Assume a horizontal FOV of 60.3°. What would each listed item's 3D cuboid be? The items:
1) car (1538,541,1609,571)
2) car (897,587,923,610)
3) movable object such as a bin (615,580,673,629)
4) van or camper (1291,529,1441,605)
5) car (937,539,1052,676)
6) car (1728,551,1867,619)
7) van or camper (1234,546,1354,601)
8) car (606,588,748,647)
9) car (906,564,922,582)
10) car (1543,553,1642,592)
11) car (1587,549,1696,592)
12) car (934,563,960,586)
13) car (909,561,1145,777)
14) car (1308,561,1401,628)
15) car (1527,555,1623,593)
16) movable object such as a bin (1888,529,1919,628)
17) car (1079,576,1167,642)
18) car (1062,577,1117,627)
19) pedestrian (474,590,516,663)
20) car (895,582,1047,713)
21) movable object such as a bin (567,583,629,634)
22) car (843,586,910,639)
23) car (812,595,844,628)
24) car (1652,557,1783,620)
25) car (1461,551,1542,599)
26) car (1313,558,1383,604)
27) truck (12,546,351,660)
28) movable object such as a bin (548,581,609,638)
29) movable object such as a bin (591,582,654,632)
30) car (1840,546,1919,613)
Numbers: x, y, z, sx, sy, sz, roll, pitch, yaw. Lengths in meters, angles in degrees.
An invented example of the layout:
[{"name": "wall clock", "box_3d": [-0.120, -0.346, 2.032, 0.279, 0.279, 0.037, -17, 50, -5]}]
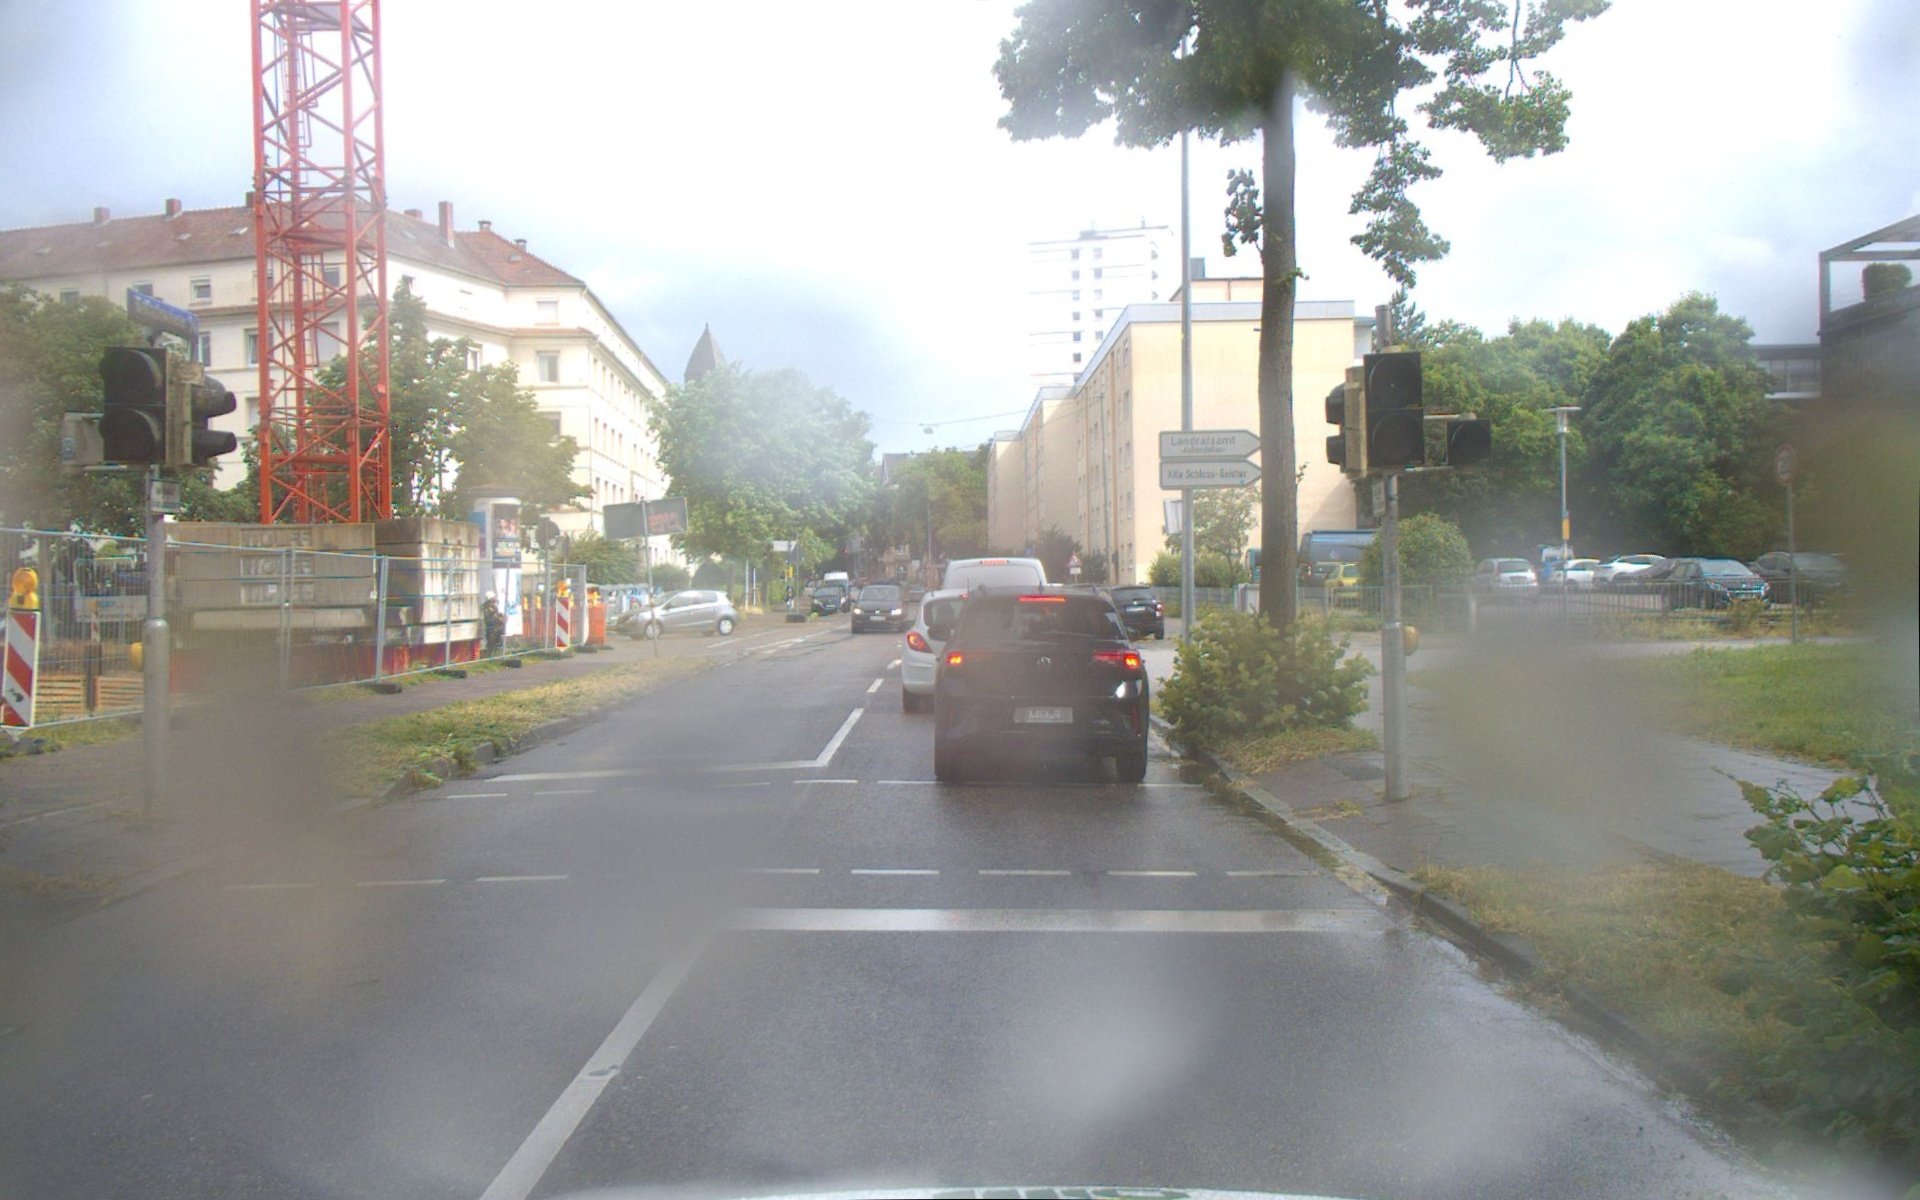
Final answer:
[{"name": "car", "box_3d": [32.002, -2.296, 86.337, 3.158, 1.422, 1.509, -2, 1, 3]}, {"name": "car", "box_3d": [-3.782, -0.126, 124.824, 1.705, 1.636, 3.676, -3, 1, 1]}, {"name": "movable object such as a bin", "box_3d": [-11.537, 0.160, 60.450, 1.505, 1.691, 1.459, -2, 1, 19]}, {"name": "van or camper", "box_3d": [14.713, -1.180, 60.190, 4.895, 2.599, 2.175, -1, 0, 1]}, {"name": "car", "box_3d": [0.594, 0.123, 27.993, 1.798, 2.139, 4.001, 1, 0, 1]}, {"name": "car", "box_3d": [22.570, -0.417, 44.752, 1.814, 1.708, 4.426, -2, 1, 5]}, {"name": "van or camper", "box_3d": [14.173, -1.136, 70.392, 4.660, 2.168, 2.323, -1, 1, 3]}, {"name": "car", "box_3d": [-8.848, 0.547, 51.835, 3.949, 1.665, 1.874, -2, -1, -32]}, {"name": "car", "box_3d": [-5.189, -3.041, 186.930, 1.632, 1.870, 3.998, -2, 1, -2]}, {"name": "car", "box_3d": [26.886, -1.152, 70.384, 3.590, 1.512, 1.640, -2, 1, 3]}, {"name": "car", "box_3d": [26.758, -1.155, 65.036, 3.590, 1.512, 1.640, -2, 1, 3]}, {"name": "car", "box_3d": [-0.953, -1.883, 123.959, 1.803, 1.636, 3.676, -3, 1, 1]}, {"name": "car", "box_3d": [0.510, 0.545, 14.979, 1.835, 1.674, 4.061, 1, 0, -1]}, {"name": "car", "box_3d": [11.312, -0.181, 47.668, 1.766, 1.780, 4.239, -2, 1, 2]}, {"name": "car", "box_3d": [26.935, -1.122, 72.459, 3.590, 1.512, 1.640, -2, 1, 3]}, {"name": "movable object such as a bin", "box_3d": [14.851, -0.344, 25.183, 0.783, 1.482, 1.097, -3, 1, 1]}, {"name": "car", "box_3d": [4.348, 0.202, 44.729, 1.738, 1.566, 4.377, -4, 1, -2]}, {"name": "car", "box_3d": [4.376, 0.110, 56.234, 1.720, 1.554, 4.001, 2, -1, 3]}, {"name": "pedestrian", "box_3d": [-10.668, 0.610, 37.960, 0.716, 1.658, 0.675, 1, -1, -38]}, {"name": "car", "box_3d": [0.125, 0.571, 21.542, 1.776, 1.529, 3.999, 1, 0, 0]}, {"name": "movable object such as a bin", "box_3d": [-12.542, 0.287, 57.362, 1.505, 1.685, 1.528, -2, 1, 19]}, {"name": "car", "box_3d": [-2.578, 0.387, 51.635, 1.776, 1.567, 3.982, 0, 0, 1]}, {"name": "car", "box_3d": [-6.754, 0.585, 84.564, 1.555, 1.532, 4.061, -3, 1, -5]}, {"name": "car", "box_3d": [20.488, -0.330, 44.934, 1.790, 1.553, 4.426, -2, 1, 4]}, {"name": "car", "box_3d": [18.302, -0.858, 56.013, 1.614, 1.512, 3.720, -2, 1, 2]}, {"name": "car", "box_3d": [13.191, -0.642, 56.371, 1.577, 1.474, 3.417, -2, 1, 1]}, {"name": "truck", "box_3d": [-24.990, 0.092, 53.235, 9.604, 3.239, 3.795, -2, 1, 15]}, {"name": "movable object such as a bin", "box_3d": [-12.881, 0.310, 55.818, 1.505, 1.856, 1.264, -2, 1, 19]}, {"name": "movable object such as a bin", "box_3d": [-12.025, 0.234, 58.929, 1.505, 1.703, 1.667, -2, 1, 19]}, {"name": "car", "box_3d": [25.424, -0.587, 43.911, 1.815, 1.708, 4.424, -2, 1, 2]}]
